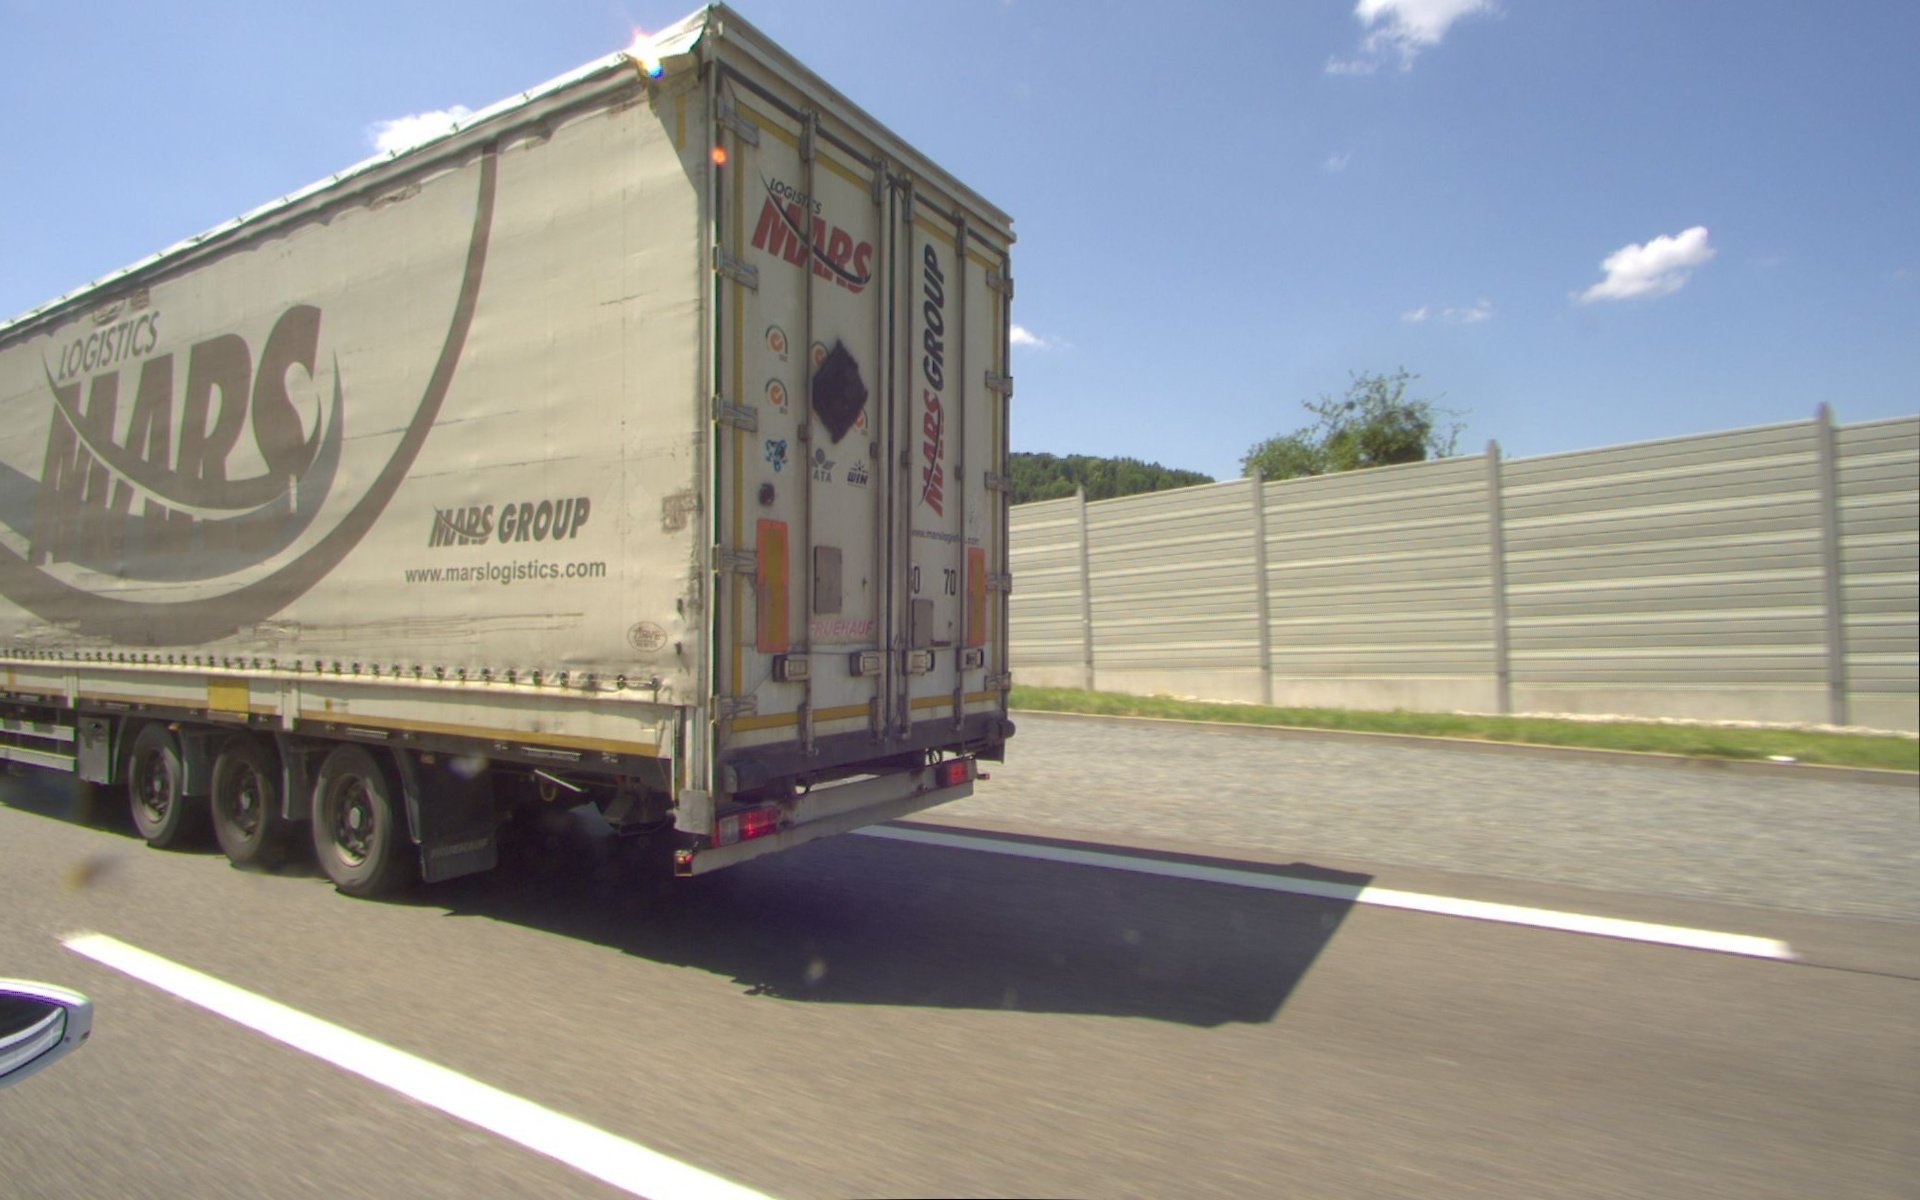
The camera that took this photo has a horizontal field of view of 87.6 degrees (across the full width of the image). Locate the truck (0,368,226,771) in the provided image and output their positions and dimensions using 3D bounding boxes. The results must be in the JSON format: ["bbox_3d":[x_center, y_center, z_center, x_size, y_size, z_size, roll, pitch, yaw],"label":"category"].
[{"bbox_3d":[-11.930,-0.199,12.269,5.671,4.118,2.716,-2,-3,31],"label":"truck"}]

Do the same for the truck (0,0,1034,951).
[{"bbox_3d":[-6.003,-0.427,8.651,13.543,4.118,2.723,-2,-3,31],"label":"truck"}]
